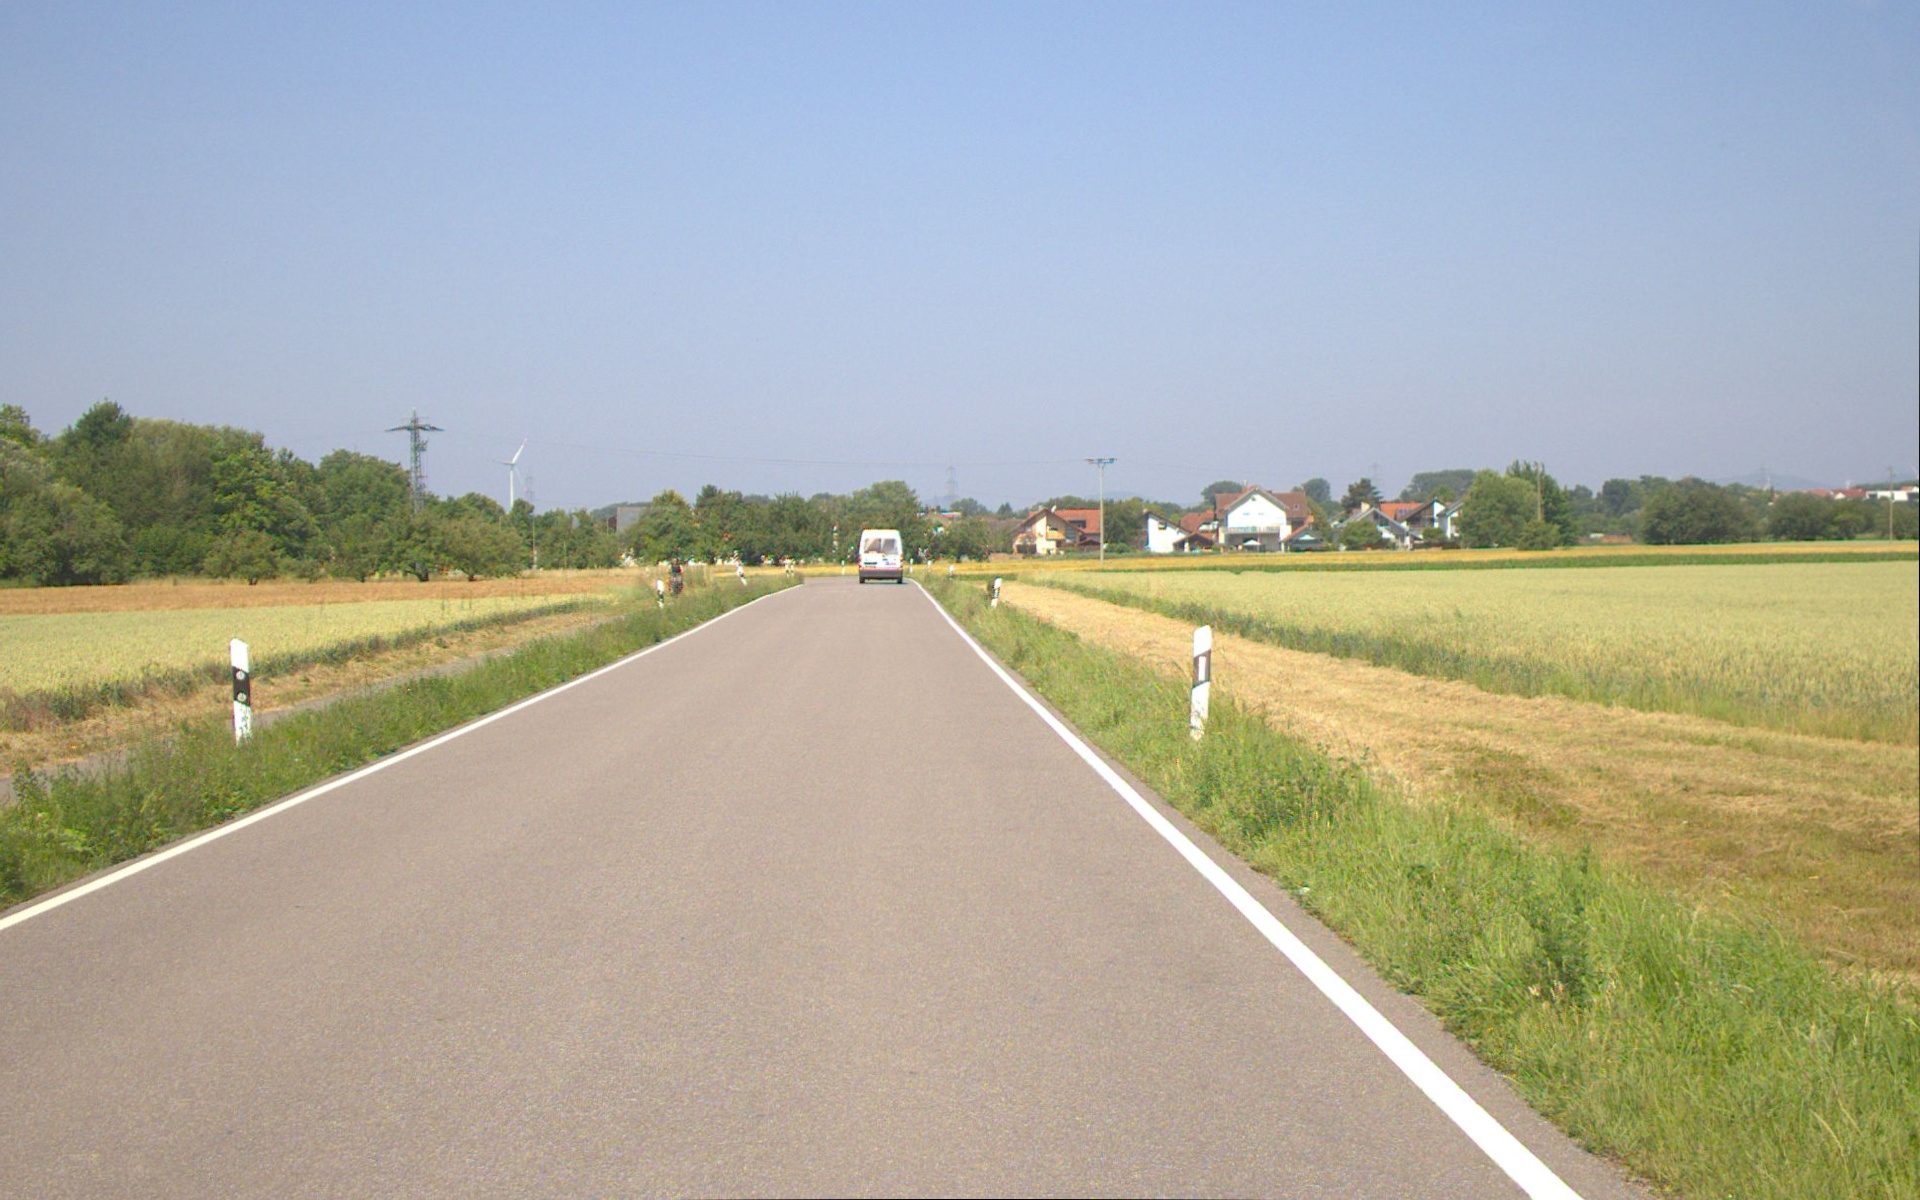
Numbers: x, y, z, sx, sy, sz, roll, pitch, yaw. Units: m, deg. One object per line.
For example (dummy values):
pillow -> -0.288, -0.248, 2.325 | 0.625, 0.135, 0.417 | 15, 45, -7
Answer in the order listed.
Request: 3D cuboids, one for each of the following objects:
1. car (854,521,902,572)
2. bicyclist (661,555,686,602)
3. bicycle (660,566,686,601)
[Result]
car -> -3.789, -2.463, 158.824 | 2.107, 2.296, 5.496 | 1, 1, -1
bicyclist -> -10.462, -0.783, 125.577 | 0.760, 1.667, 1.089 | -2, 1, -1
bicycle -> -10.475, -0.596, 125.553 | 0.759, 1.231, 2.394 | -3, 1, -1
